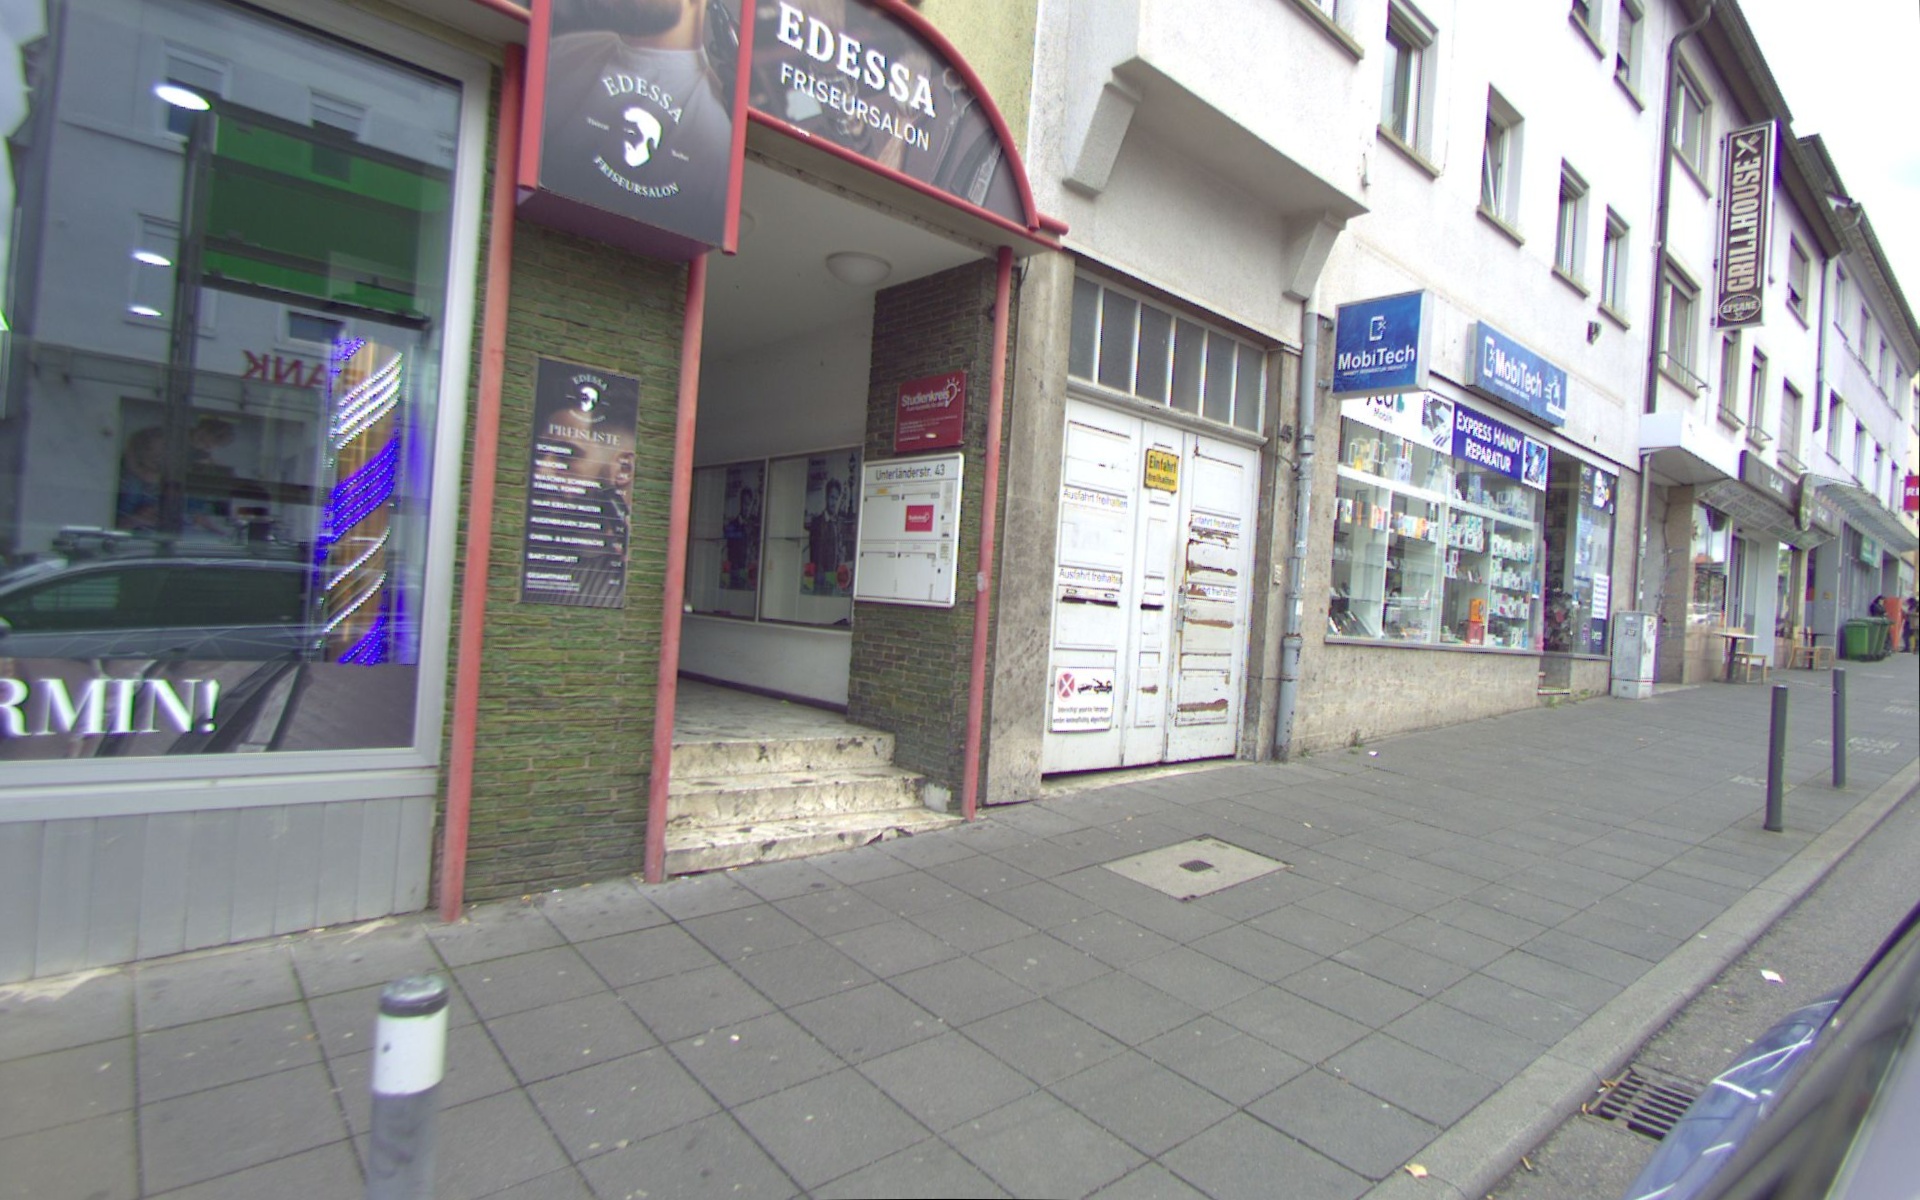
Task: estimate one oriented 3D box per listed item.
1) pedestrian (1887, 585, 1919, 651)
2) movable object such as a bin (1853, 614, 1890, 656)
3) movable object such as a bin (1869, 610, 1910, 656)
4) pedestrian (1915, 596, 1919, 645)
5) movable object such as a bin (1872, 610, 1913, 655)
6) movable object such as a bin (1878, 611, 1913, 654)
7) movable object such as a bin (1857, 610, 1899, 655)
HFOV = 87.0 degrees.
[{"bbox_3d":[25.722,0.478,27.492,0.621,1.747,0.601,0,0,26],"label":"pedestrian"},{"bbox_3d":[22.153,0.850,24.594,0.489,0.968,0.568,1,2,-41],"label":"movable object such as a bin"},{"bbox_3d":[23.229,0.812,25.295,0.661,1.094,0.652,1,2,-41],"label":"movable object such as a bin"},{"bbox_3d":[29.041,0.494,30.218,0.626,1.746,0.597,5,3,44],"label":"pedestrian"},{"bbox_3d":[23.743,0.815,25.773,0.648,1.094,0.652,1,2,-41],"label":"movable object such as a bin"},{"bbox_3d":[24.213,0.826,26.198,0.564,1.072,0.569,1,2,-41],"label":"movable object such as a bin"},{"bbox_3d":[22.641,0.795,24.952,0.550,1.043,0.670,1,2,-41],"label":"movable object such as a bin"}]
